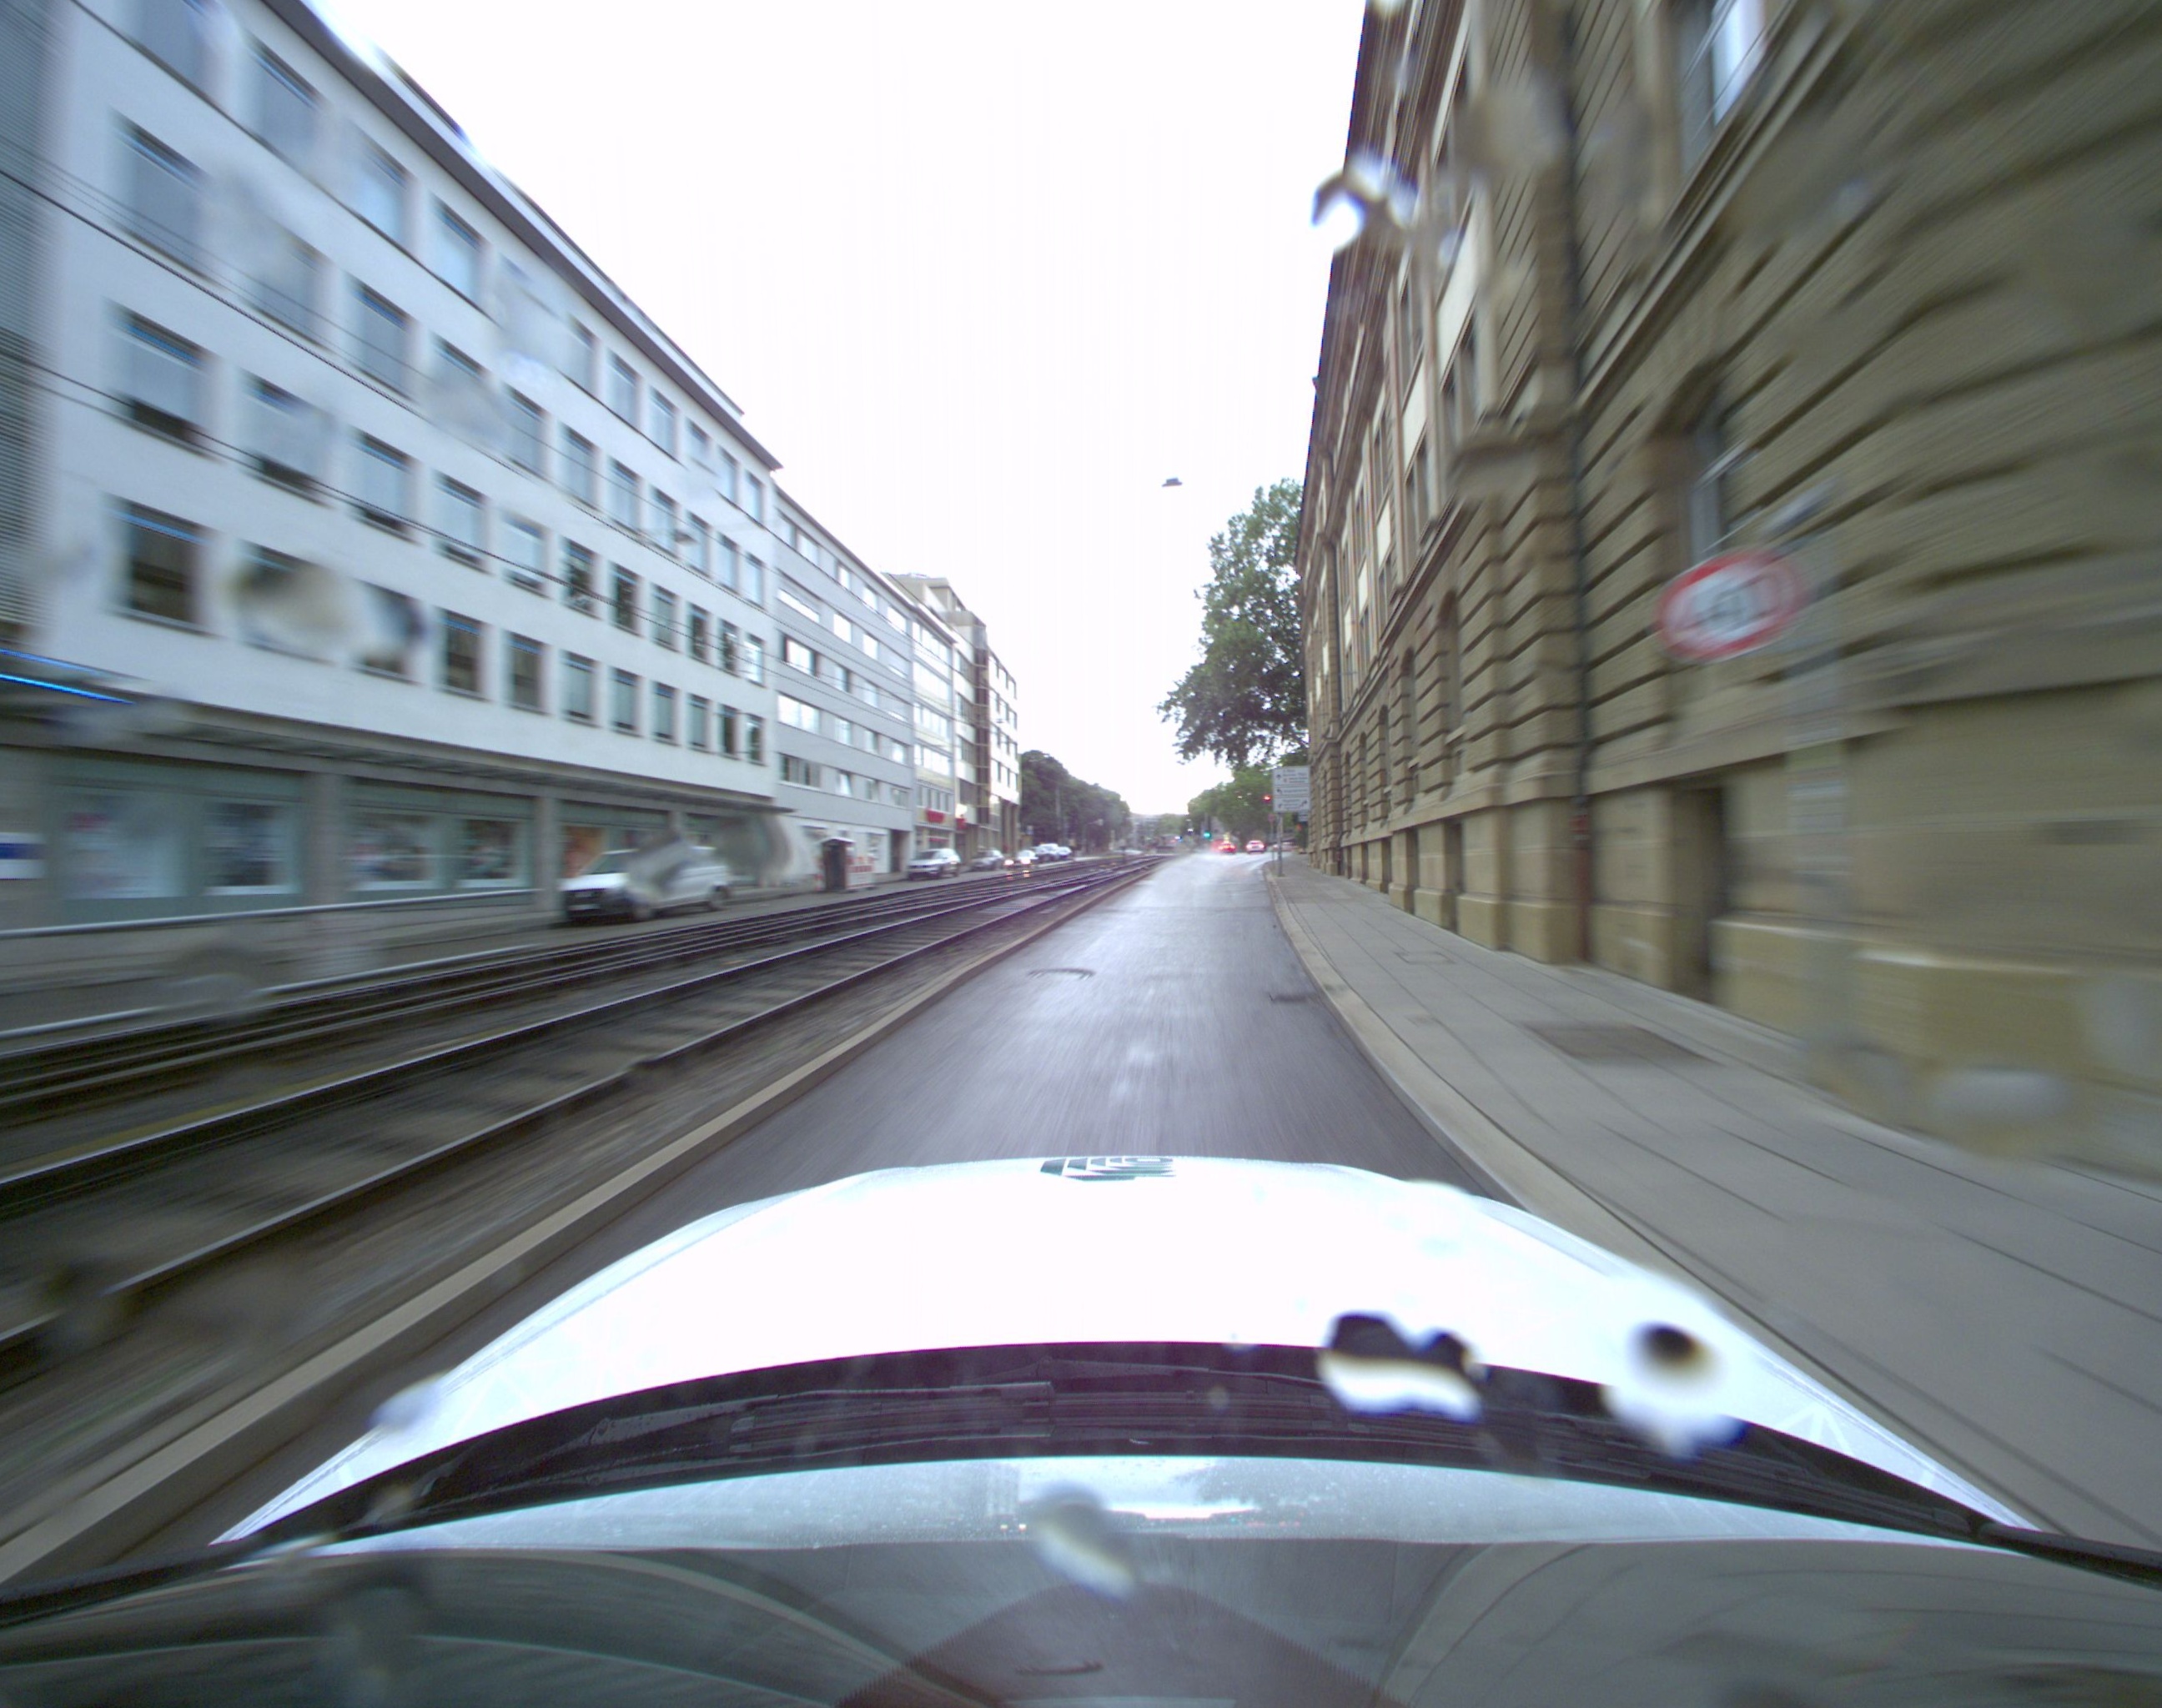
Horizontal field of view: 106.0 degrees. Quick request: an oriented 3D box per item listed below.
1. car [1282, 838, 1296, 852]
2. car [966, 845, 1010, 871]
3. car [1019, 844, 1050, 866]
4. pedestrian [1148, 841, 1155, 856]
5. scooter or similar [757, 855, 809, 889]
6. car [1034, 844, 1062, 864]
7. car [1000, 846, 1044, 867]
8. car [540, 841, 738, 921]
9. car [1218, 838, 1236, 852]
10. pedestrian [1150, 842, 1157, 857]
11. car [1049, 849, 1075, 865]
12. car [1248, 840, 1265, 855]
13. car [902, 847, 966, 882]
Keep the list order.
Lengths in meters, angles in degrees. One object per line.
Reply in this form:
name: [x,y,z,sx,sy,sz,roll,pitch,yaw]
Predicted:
car: [45.763,-1.982,179.203,2.529,3.134,5.044,0,-1,9]
car: [-6.391,0.275,56.299,1.983,1.674,4.704,0,0,7]
car: [-4.106,0.112,72.996,1.983,1.850,4.704,0,0,7]
pedestrian: [8.539,-0.623,98.587,0.640,1.788,0.807,1,-1,-14]
scooter or similar: [-12.729,0.749,34.929,0.692,1.374,3.096,0,0,8]
car: [-3.130,0.037,78.238,1.983,1.850,4.704,0,0,7]
car: [-3.840,0.180,53.853,1.983,1.255,4.704,-2,-1,7]
car: [-11.482,0.664,21.697,1.983,1.842,5.141,-1,-1,7]
car: [17.244,-1.061,96.013,1.967,1.640,4.431,0,0,12]
pedestrian: [8.649,-0.487,97.702,0.639,1.788,0.808,0,-1,-9]
car: [-1.949,0.345,84.394,1.983,1.582,4.558,0,0,7]
car: [19.855,-0.752,91.858,1.667,1.576,4.269,-2,0,14]
car: [-7.899,0.513,44.299,1.982,1.673,4.708,1,1,9]
